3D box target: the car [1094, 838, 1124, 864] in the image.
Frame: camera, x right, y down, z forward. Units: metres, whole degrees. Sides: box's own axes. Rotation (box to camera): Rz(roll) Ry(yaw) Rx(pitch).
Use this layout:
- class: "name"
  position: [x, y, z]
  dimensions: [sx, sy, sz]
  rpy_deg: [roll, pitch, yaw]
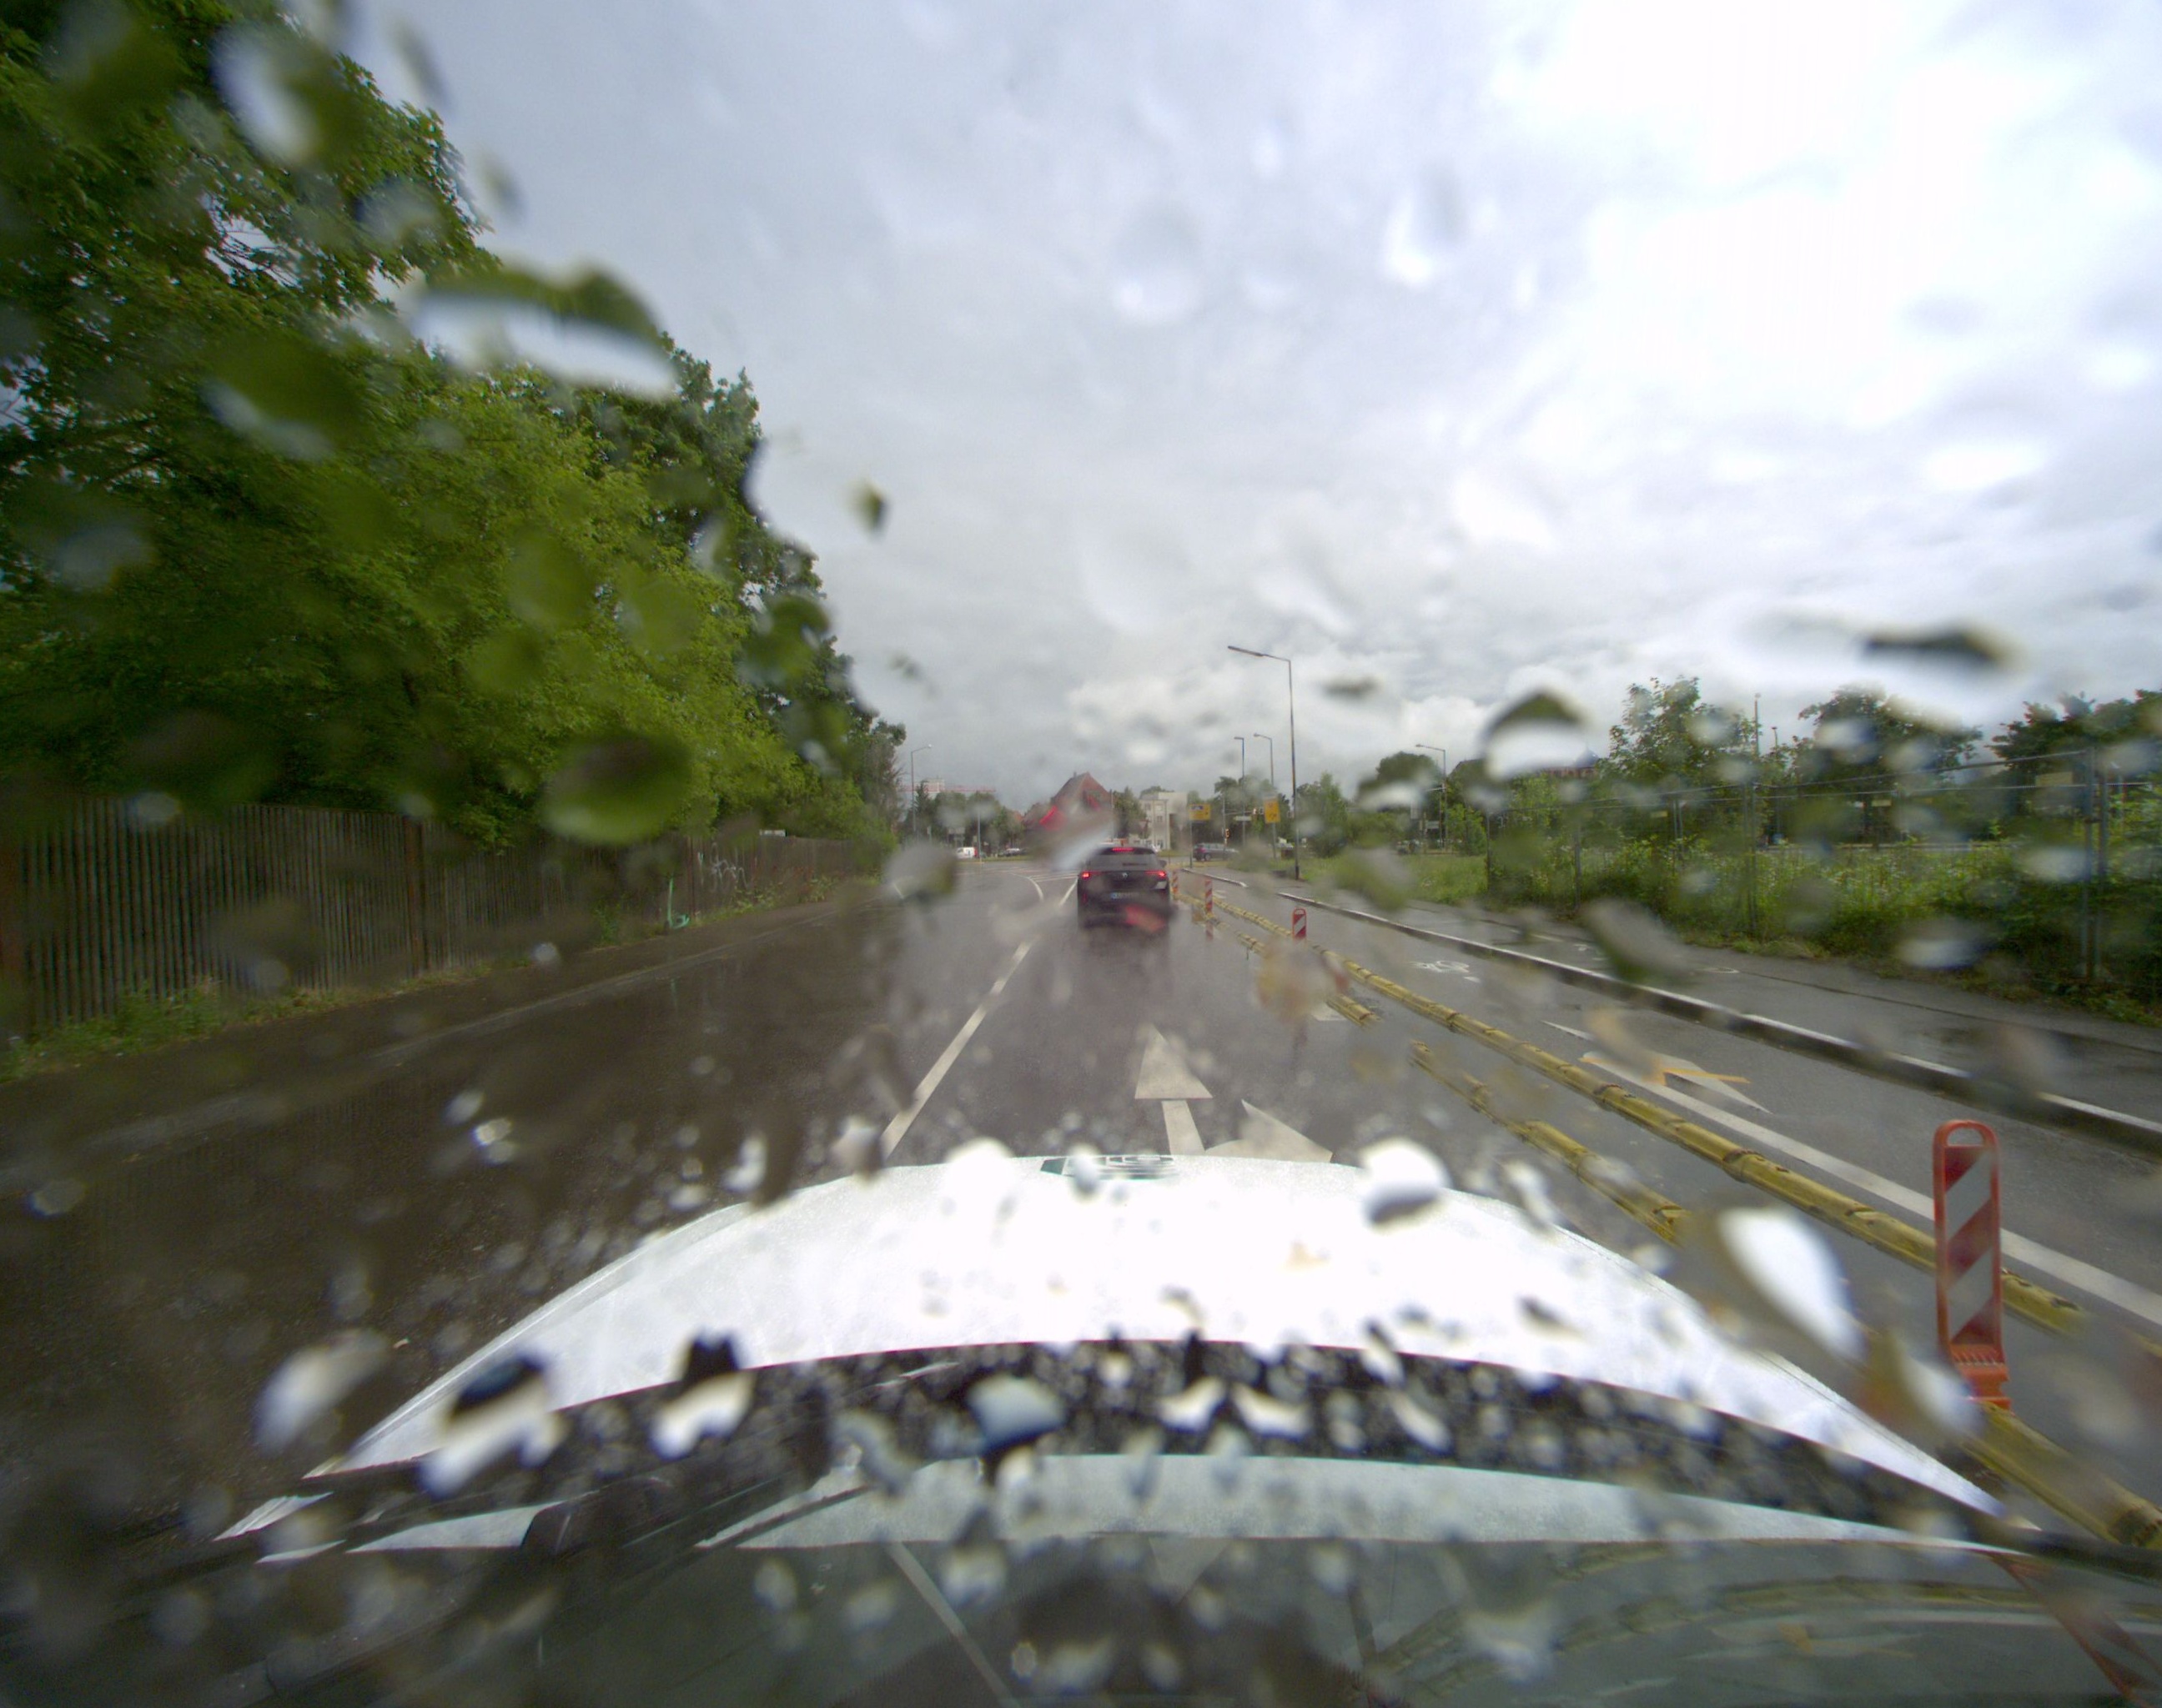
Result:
- class: "car"
  position: [2.076, -0.238, 59.681]
  dimensions: [1.854, 1.809, 4.412]
  rpy_deg: [-1, 0, 6]

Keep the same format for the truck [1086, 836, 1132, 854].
- class: "truck"
  position: [4.423, -1.426, 127.876]
  dimensions: [7.037, 2.650, 2.332]
  rpy_deg: [-1, 0, 3]

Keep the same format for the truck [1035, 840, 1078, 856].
- class: "truck"
  position: [-4.066, -1.062, 135.229]
  dimensions: [6.718, 2.442, 2.420]
  rpy_deg: [-2, 0, -17]

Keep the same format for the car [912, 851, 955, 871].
- class: "car"
  position: [-14.710, 0.721, 81.330]
  dimensions: [3.948, 1.830, 2.013]
  rpy_deg: [-2, 0, 37]

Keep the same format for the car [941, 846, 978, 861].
- class: "car"
  position: [-17.488, -0.100, 117.022]
  dimensions: [1.870, 1.876, 5.164]
  rpy_deg: [-1, 1, 43]

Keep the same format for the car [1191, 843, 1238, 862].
- class: "car"
  position: [11.919, -0.145, 72.735]
  dimensions: [3.962, 1.644, 1.656]
  rpy_deg: [-1, 0, -27]

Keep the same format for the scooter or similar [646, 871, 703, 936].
- class: "scooter or similar"
  position: [-7.824, 0.933, 15.710]
  dimensions: [0.561, 1.162, 1.206]
  rpy_deg: [-2, 0, -6]

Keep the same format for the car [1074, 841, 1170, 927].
- class: "car"
  position: [0.752, 0.555, 16.977]
  dimensions: [1.704, 1.574, 3.680]
  rpy_deg: [-1, 0, -2]
